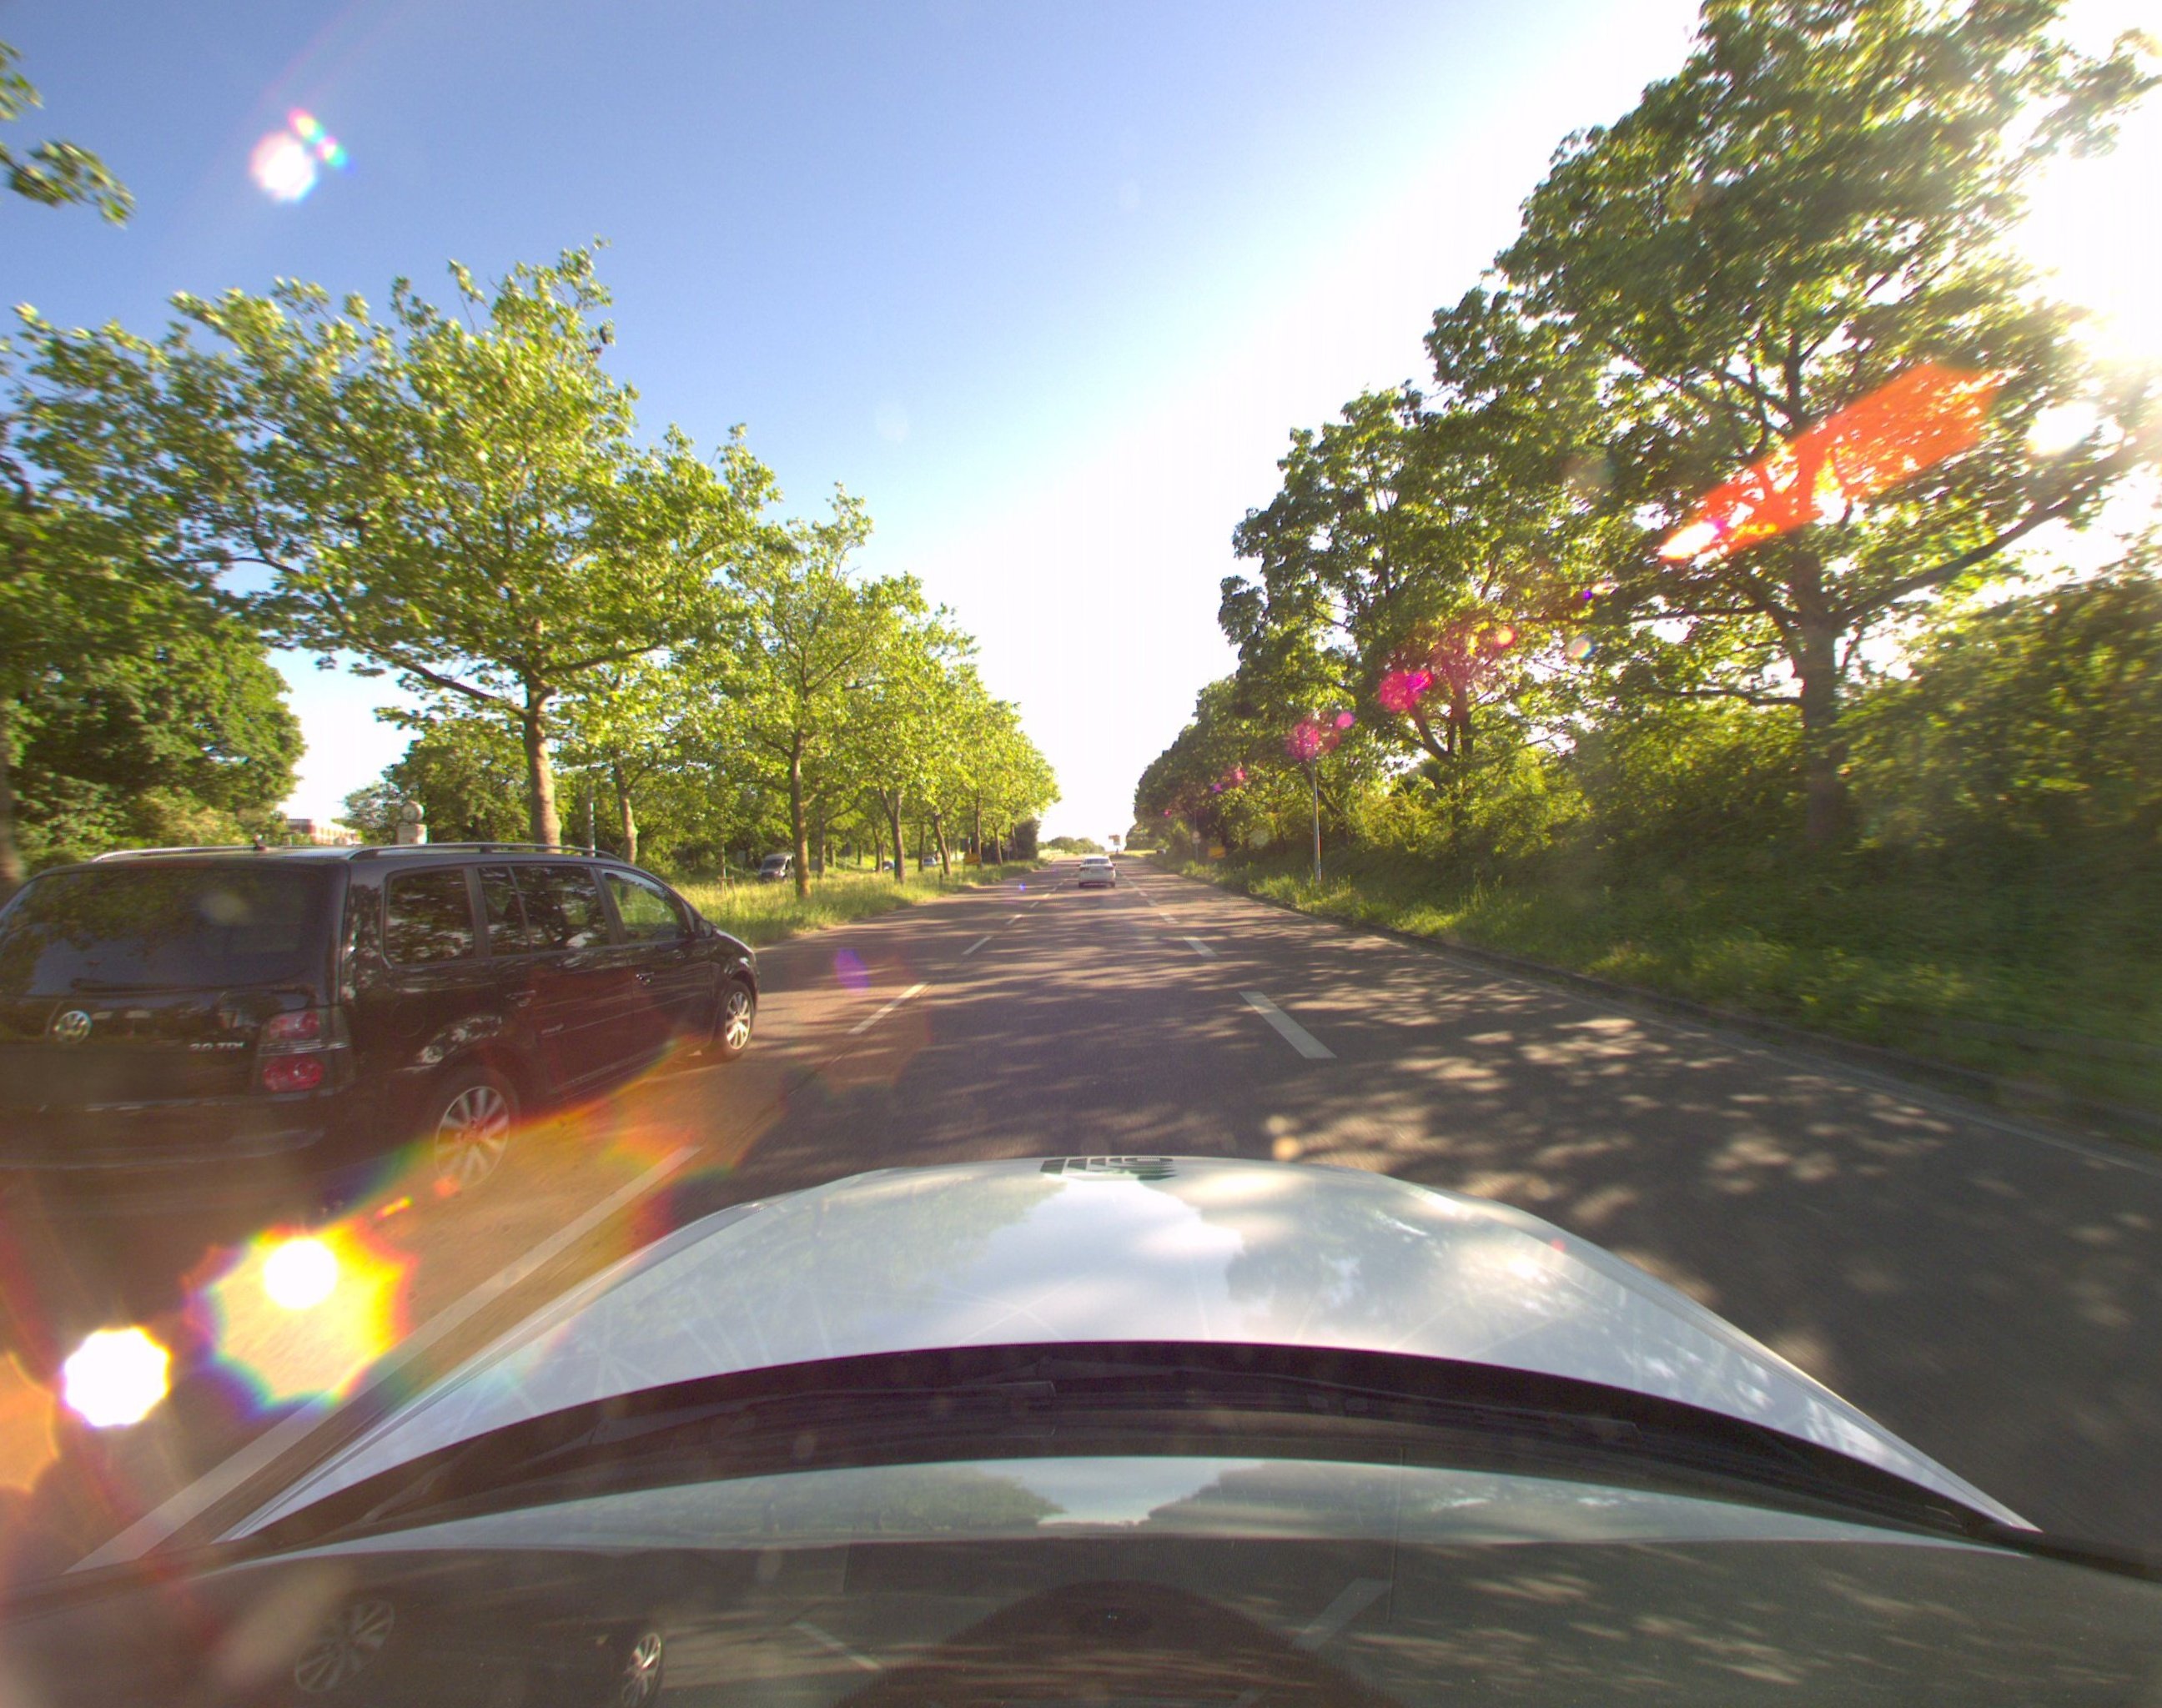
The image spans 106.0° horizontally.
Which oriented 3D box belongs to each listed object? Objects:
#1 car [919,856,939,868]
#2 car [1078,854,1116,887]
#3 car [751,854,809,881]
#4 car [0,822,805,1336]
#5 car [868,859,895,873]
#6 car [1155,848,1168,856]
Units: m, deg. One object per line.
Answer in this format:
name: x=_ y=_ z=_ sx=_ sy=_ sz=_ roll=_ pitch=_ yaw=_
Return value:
car: x=-20.011 y=1.037 z=107.357 sx=1.761 sy=1.464 sz=4.367 roll=-2 pitch=0 yaw=1
car: x=0.809 y=0.785 z=40.468 sx=1.761 sy=1.464 sz=4.367 roll=-2 pitch=0 yaw=1
car: x=-23.158 y=0.985 z=62.893 sx=2.127 sy=1.901 sz=5.743 roll=-2 pitch=0 yaw=1
car: x=-3.518 y=0.738 z=5.090 sx=1.761 sy=1.644 sz=4.925 roll=-1 pitch=0 yaw=2
car: x=-22.311 y=1.297 z=91.073 sx=1.761 sy=1.464 sz=4.367 roll=-2 pitch=0 yaw=1
car: x=15.920 y=-0.308 z=160.987 sx=1.755 sy=1.464 sz=4.382 roll=-2 pitch=-1 yaw=14
